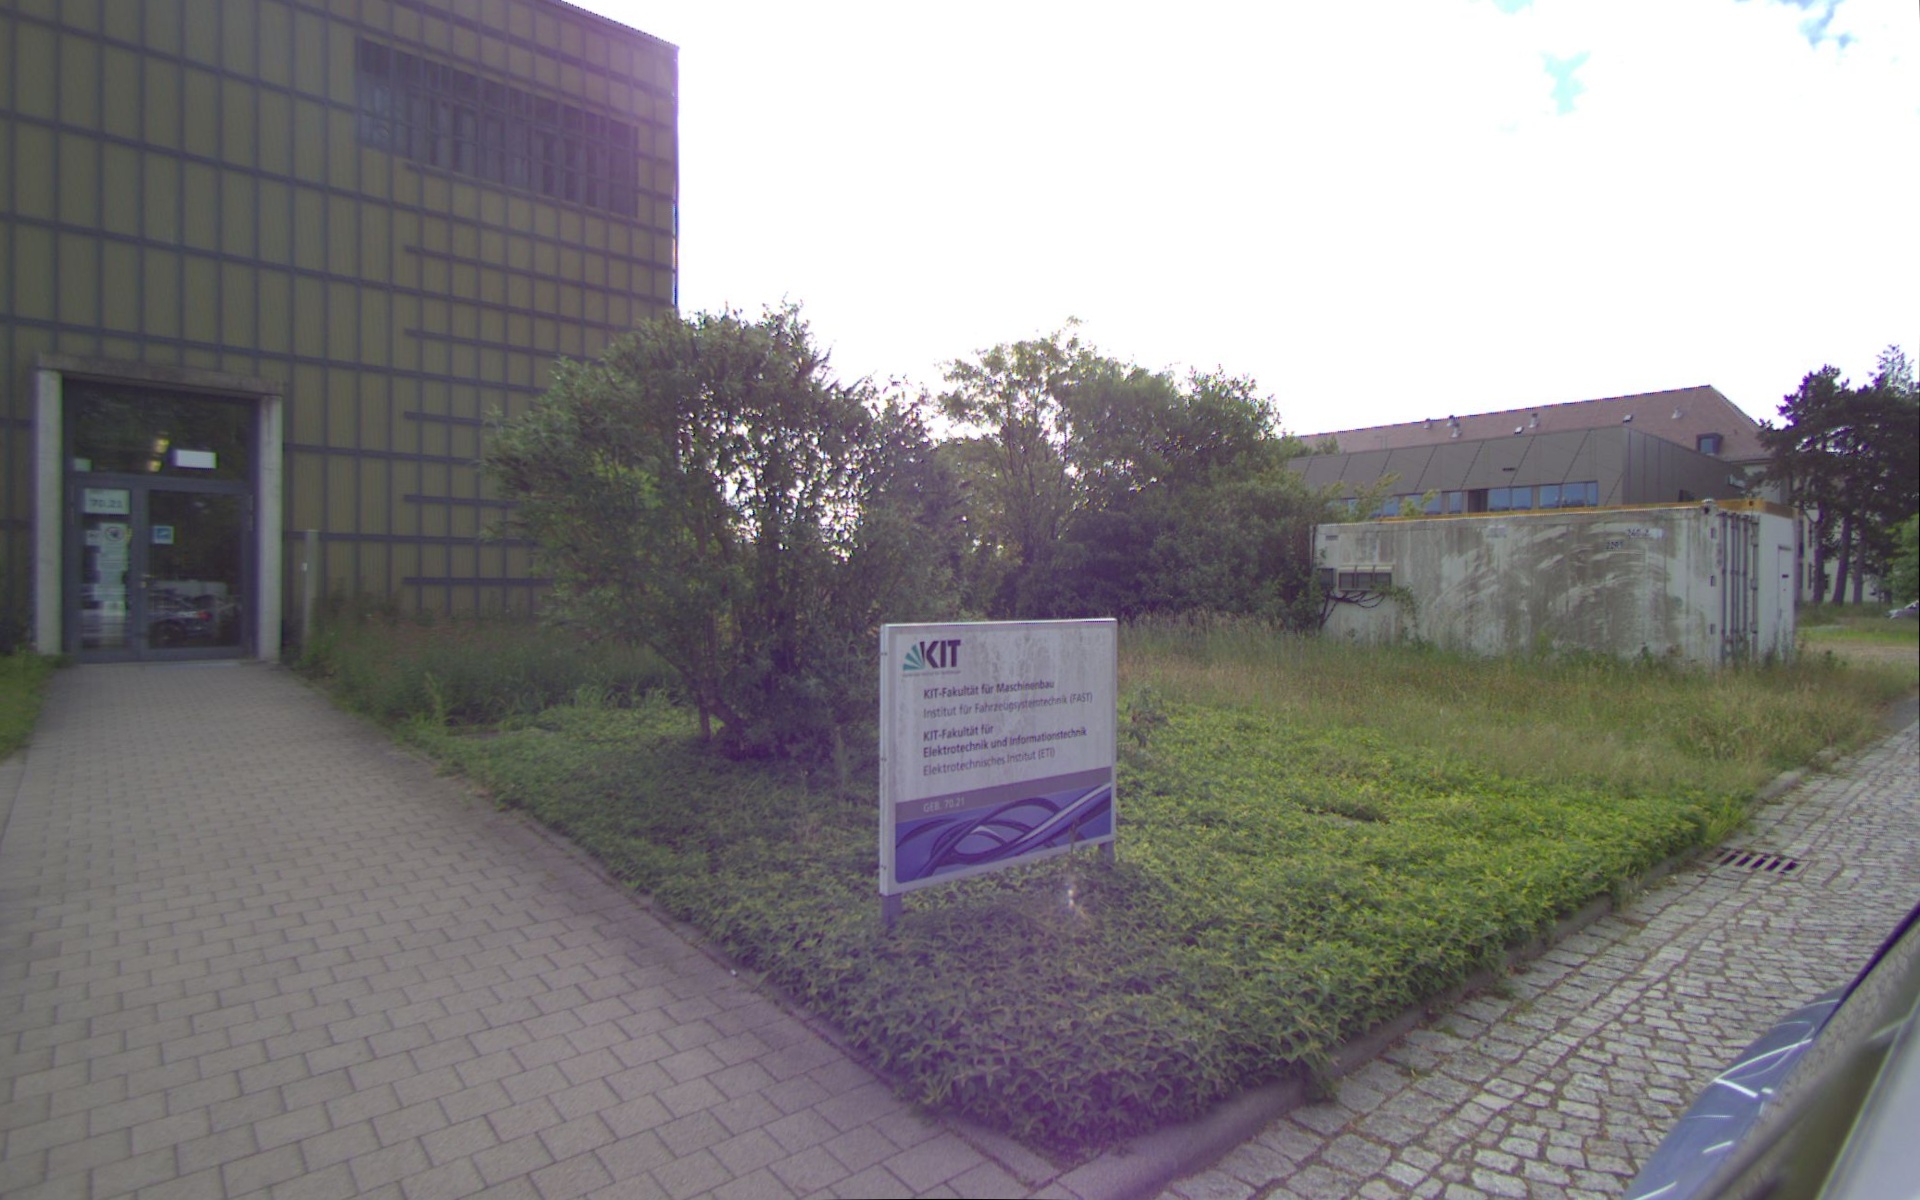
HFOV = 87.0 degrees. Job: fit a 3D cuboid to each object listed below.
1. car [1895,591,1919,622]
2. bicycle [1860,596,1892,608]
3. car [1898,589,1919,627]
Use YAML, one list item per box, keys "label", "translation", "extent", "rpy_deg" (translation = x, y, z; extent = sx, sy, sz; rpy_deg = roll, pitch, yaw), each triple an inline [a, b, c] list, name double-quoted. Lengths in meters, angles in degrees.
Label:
- label: "car"
  translation: [48.152, 0.396, 48.637]
  extent: [1.899, 1.467, 4.532]
  rpy_deg: [0, 3, -42]
- label: "bicycle"
  translation: [84.876, 0.184, 93.798]
  extent: [0.705, 1.109, 2.160]
  rpy_deg: [0, 1, -43]
- label: "car"
  translation: [42.742, 0.401, 43.945]
  extent: [1.653, 1.601, 2.747]
  rpy_deg: [0, 3, -40]
